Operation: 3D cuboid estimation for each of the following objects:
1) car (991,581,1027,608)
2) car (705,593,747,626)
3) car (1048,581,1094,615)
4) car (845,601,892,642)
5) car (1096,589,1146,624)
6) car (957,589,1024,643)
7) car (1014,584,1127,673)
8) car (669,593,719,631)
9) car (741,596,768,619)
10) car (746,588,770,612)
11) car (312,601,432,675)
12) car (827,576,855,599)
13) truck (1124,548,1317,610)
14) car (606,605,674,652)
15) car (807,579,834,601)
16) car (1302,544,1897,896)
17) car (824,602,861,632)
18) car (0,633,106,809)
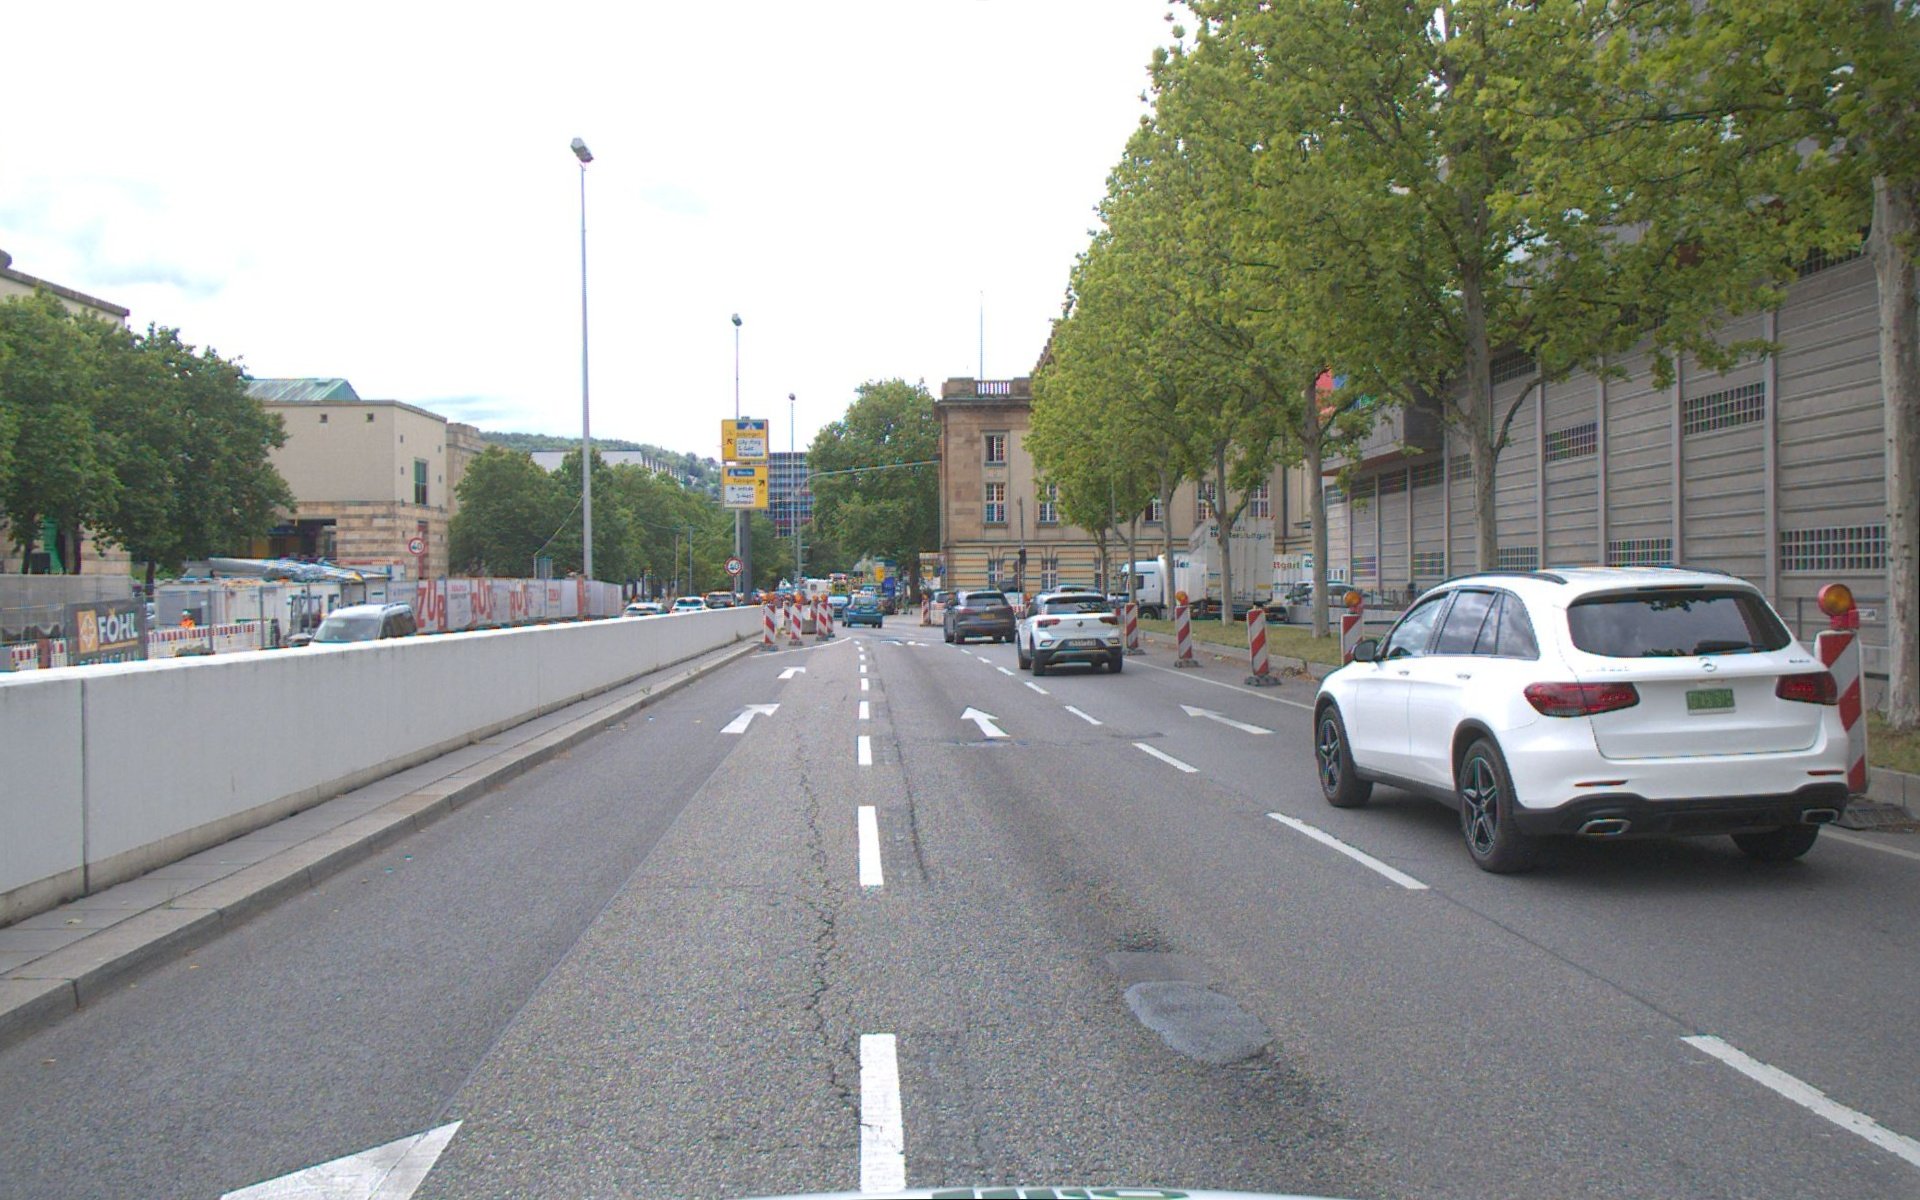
[{"bbox_3d":[2.962,-0.305,100.636,1.819,1.595,4.328,0,-1,-3],"label":"car"},{"bbox_3d":[-12.061,0.482,85.334,1.716,1.595,3.376,-3,0,-2],"label":"car"},{"bbox_3d":[5.361,-0.055,80.334,1.715,1.595,4.328,0,-1,-3],"label":"car"},{"bbox_3d":[-4.231,0.968,76.859,1.785,1.771,4.481,-1,1,2],"label":"car"},{"bbox_3d":[7.755,0.327,79.928,1.819,1.595,4.328,0,-1,-3],"label":"car"},{"bbox_3d":[0.939,0.488,53.709,1.787,1.595,4.477,-2,0,-3],"label":"car"},{"bbox_3d":[2.154,0.536,33.441,1.716,1.595,4.329,-3,0,-3],"label":"car"},{"bbox_3d":[-11.626,0.503,72.416,1.715,1.595,3.376,0,0,-2],"label":"car"},{"bbox_3d":[-14.206,0.511,114.520,1.717,1.595,4.326,-1,0,-6],"label":"car"},{"bbox_3d":[-18.047,-0.009,147.885,1.955,2.048,3.996,-1,2,-6],"label":"car"},{"bbox_3d":[-14.129,0.886,39.932,1.716,1.595,3.376,-3,0,-2],"label":"car"},{"bbox_3d":[-13.382,-1.415,186.492,2.529,2.415,5.527,-1,1,1],"label":"car"},{"bbox_3d":[13.873,-1.123,88.499,9.828,3.104,2.567,-1,-1,-3],"label":"truck"},{"bbox_3d":[-11.337,0.978,58.906,1.715,1.595,4.329,-1,0,-2],"label":"car"},{"bbox_3d":[-16.121,-1.206,191.291,2.529,2.415,5.527,-1,1,1],"label":"car"},{"bbox_3d":[3.667,0.528,10.508,1.776,1.671,4.550,-2,2,-3],"label":"car"},{"bbox_3d":[-7.141,1.062,101.111,1.785,1.771,4.480,-2,-1,1],"label":"car"},{"bbox_3d":[-13.045,1.574,21.503,1.954,2.048,3.998,-1,2,-4],"label":"car"}]
